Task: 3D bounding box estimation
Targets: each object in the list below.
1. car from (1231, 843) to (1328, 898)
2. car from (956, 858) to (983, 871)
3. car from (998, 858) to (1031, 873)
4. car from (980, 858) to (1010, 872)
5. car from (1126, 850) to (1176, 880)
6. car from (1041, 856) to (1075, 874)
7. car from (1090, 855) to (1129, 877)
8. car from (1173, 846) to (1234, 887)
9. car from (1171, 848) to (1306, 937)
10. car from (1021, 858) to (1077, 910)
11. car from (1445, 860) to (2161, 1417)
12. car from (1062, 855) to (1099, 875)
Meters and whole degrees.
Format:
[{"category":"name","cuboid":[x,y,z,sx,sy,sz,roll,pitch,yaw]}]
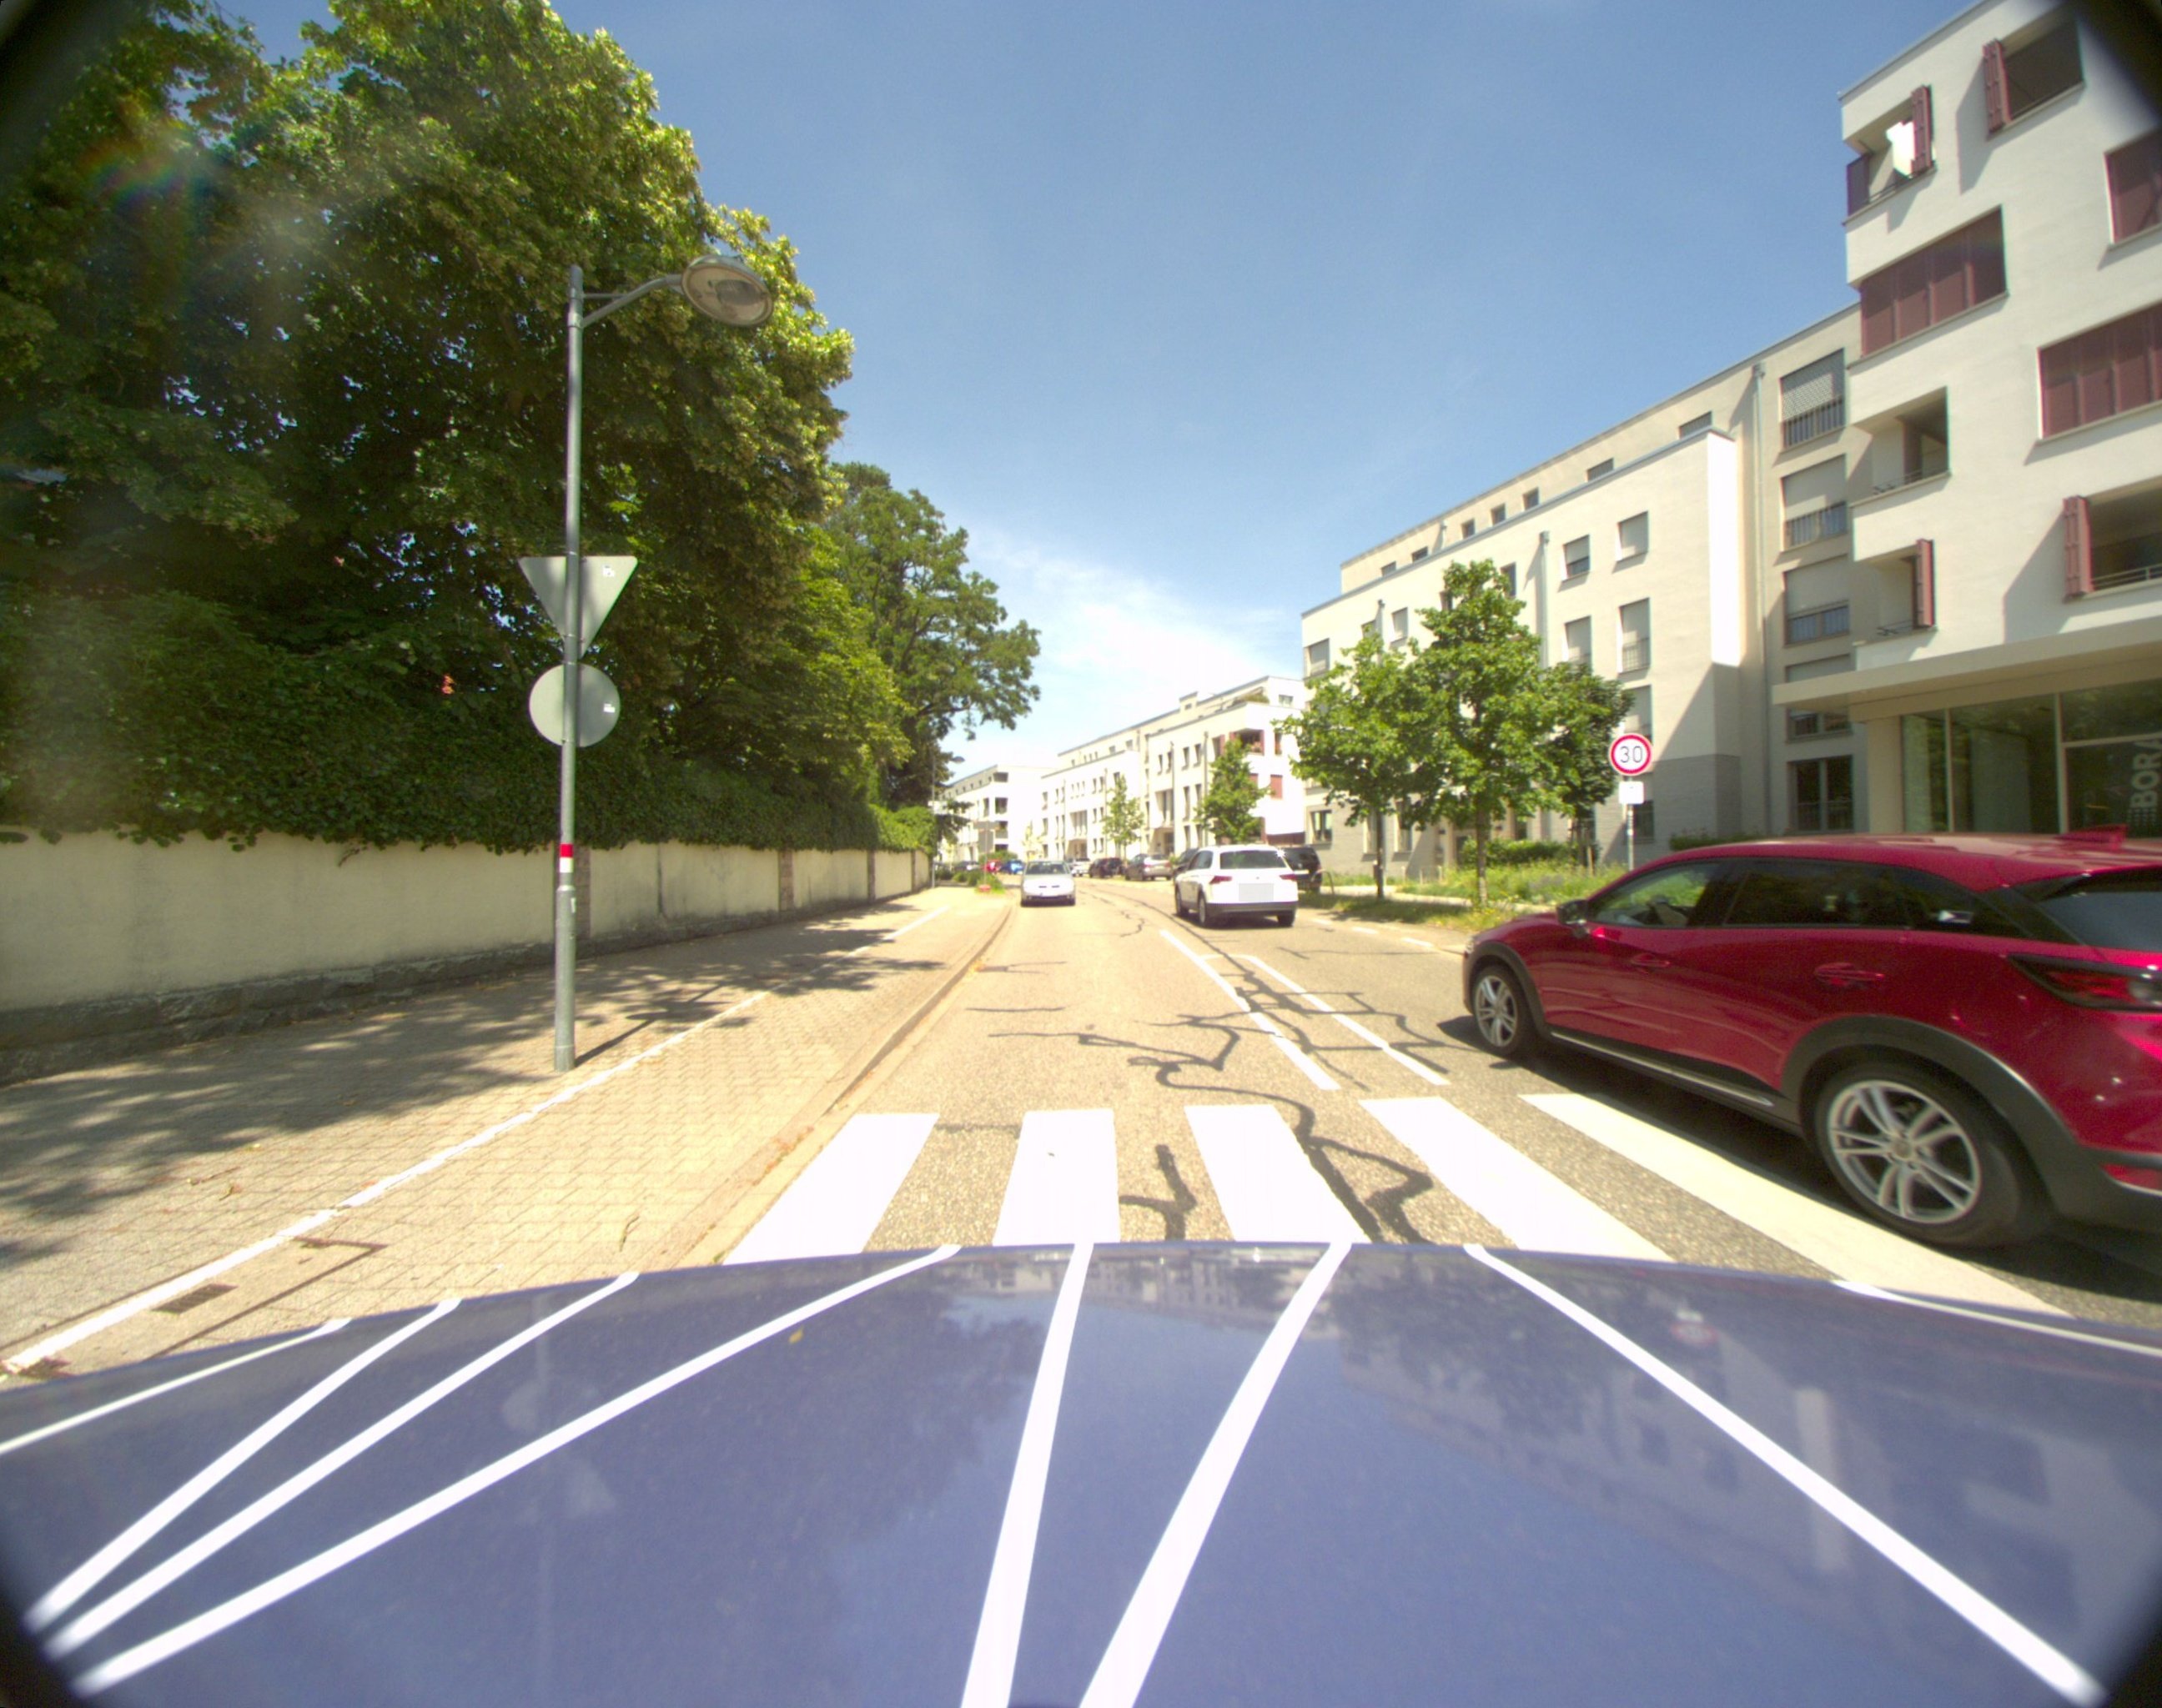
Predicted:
[{"category":"car","cuboid":[6.451,0.490,25.140,1.699,1.628,4.018,-1,0,-8]},{"category":"car","cuboid":[-12.197,1.126,83.236,1.710,1.405,3.713,-2,0,-29]},{"category":"car","cuboid":[-6.393,1.079,72.803,1.710,1.405,3.713,-2,0,-29]},{"category":"car","cuboid":[-8.853,1.091,77.699,1.710,1.405,3.713,-2,0,-29]},{"category":"car","cuboid":[3.956,0.606,43.326,1.792,1.580,3.623,-1,0,-13]},{"category":"car","cuboid":[-1.965,0.906,63.876,1.709,1.405,3.715,-1,0,-20]},{"category":"car","cuboid":[1.895,0.772,51.449,1.708,1.405,3.623,-1,0,-14]},{"category":"car","cuboid":[5.387,0.533,33.848,1.699,1.690,3.625,-1,0,-8]},{"category":"car","cuboid":[3.174,0.705,16.150,1.815,1.599,4.119,-1,0,-3]},{"category":"car","cuboid":[-1.060,0.884,24.154,1.608,1.443,3.998,-1,0,-4]},{"category":"car","cuboid":[3.799,0.808,3.954,1.755,1.496,3.991,-1,0,-2]},{"category":"car","cuboid":[-0.076,0.780,57.309,1.708,1.405,3.716,-1,0,-17]}]
